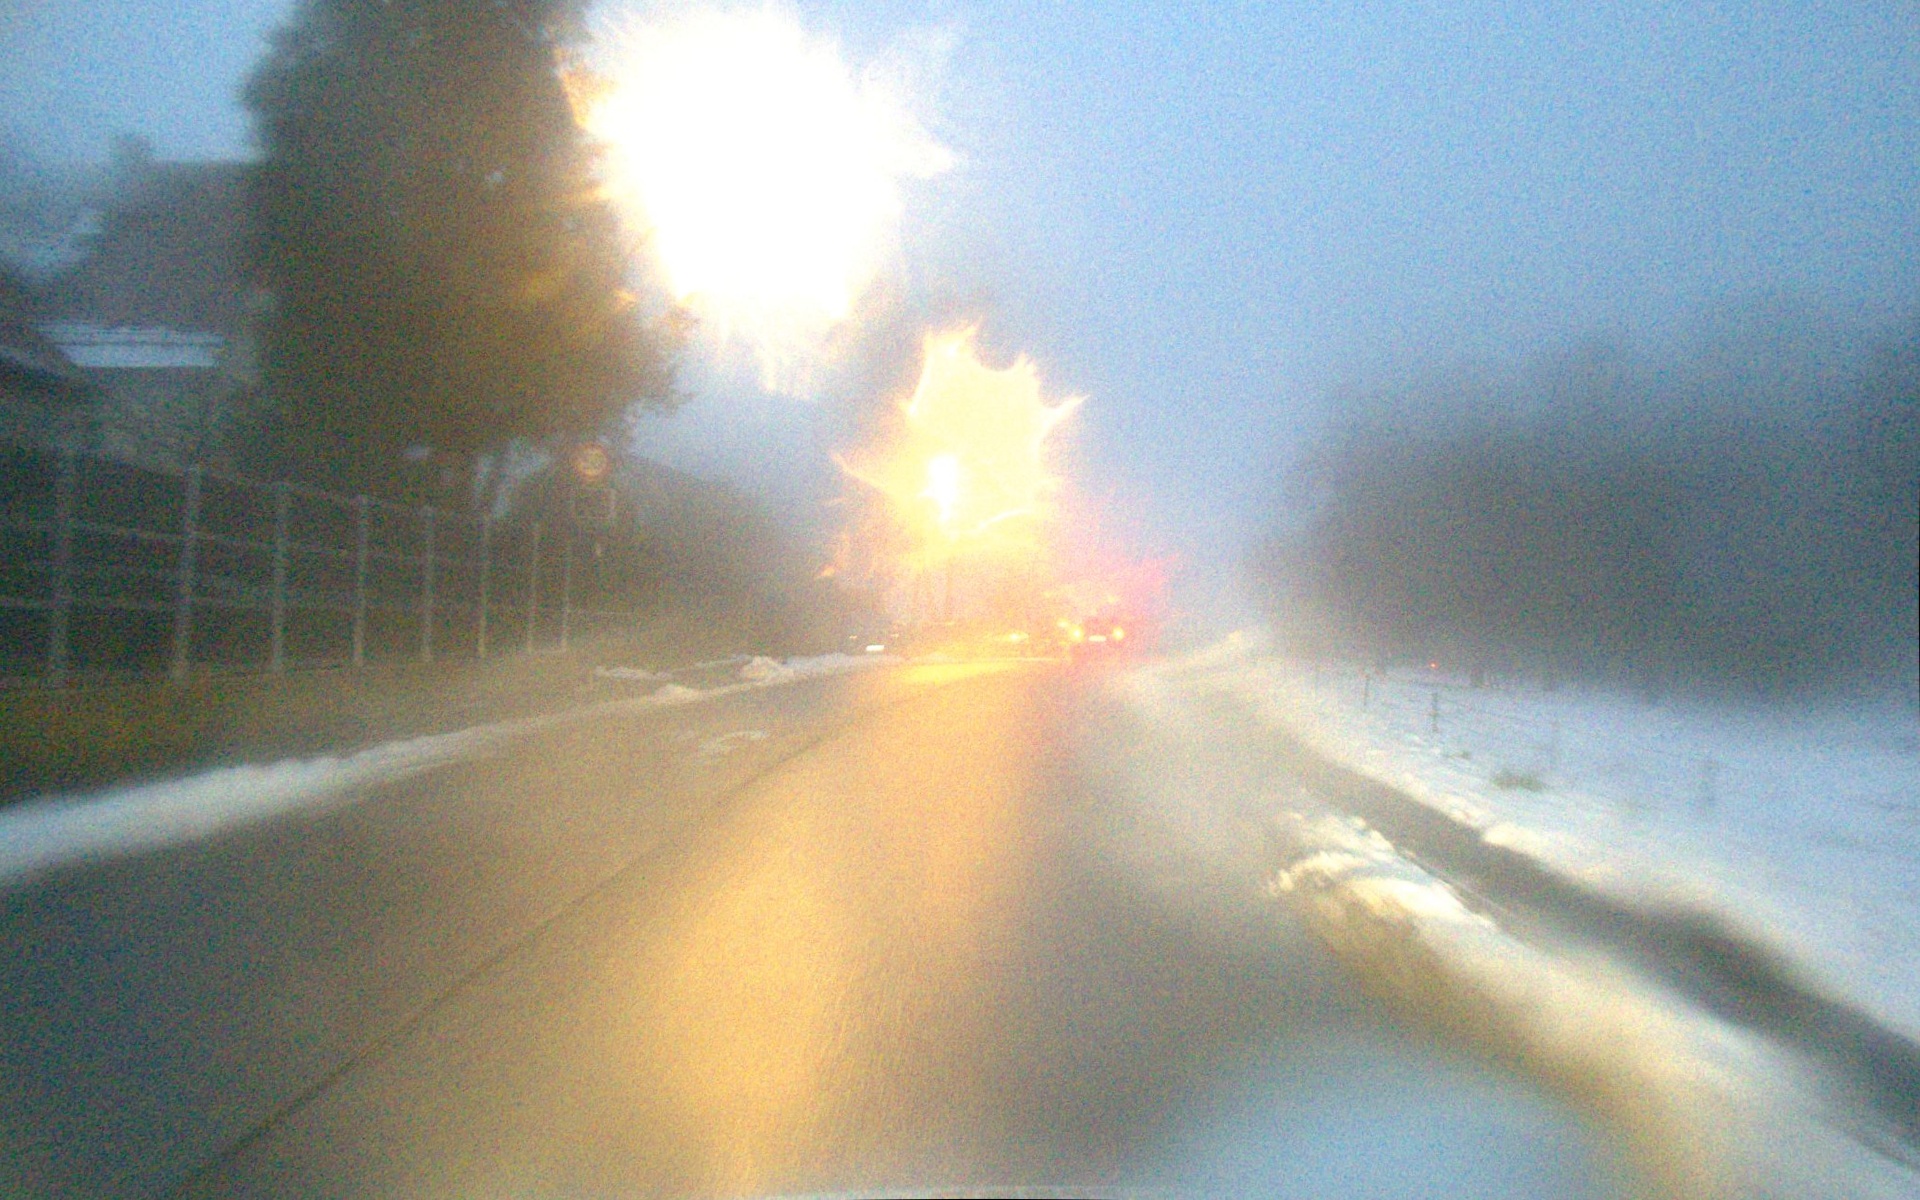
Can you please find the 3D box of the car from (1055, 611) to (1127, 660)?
[{"bbox_3d":[4.126,1.073,51.594,1.951,1.445,4.003,0,-1,9],"label":"car"}]

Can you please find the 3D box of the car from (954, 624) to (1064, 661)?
[{"bbox_3d":[2.297,1.980,76.904,4.783,1.511,2.125,-3,-2,11],"label":"car"}]

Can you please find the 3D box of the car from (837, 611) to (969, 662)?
[{"bbox_3d":[-1.970,1.298,58.211,4.433,1.594,2.111,-2,-2,3],"label":"car"}]

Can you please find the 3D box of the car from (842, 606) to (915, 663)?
[{"bbox_3d":[-2.636,1.123,52.471,1.955,1.594,4.989,-3,-2,-6],"label":"car"}]
